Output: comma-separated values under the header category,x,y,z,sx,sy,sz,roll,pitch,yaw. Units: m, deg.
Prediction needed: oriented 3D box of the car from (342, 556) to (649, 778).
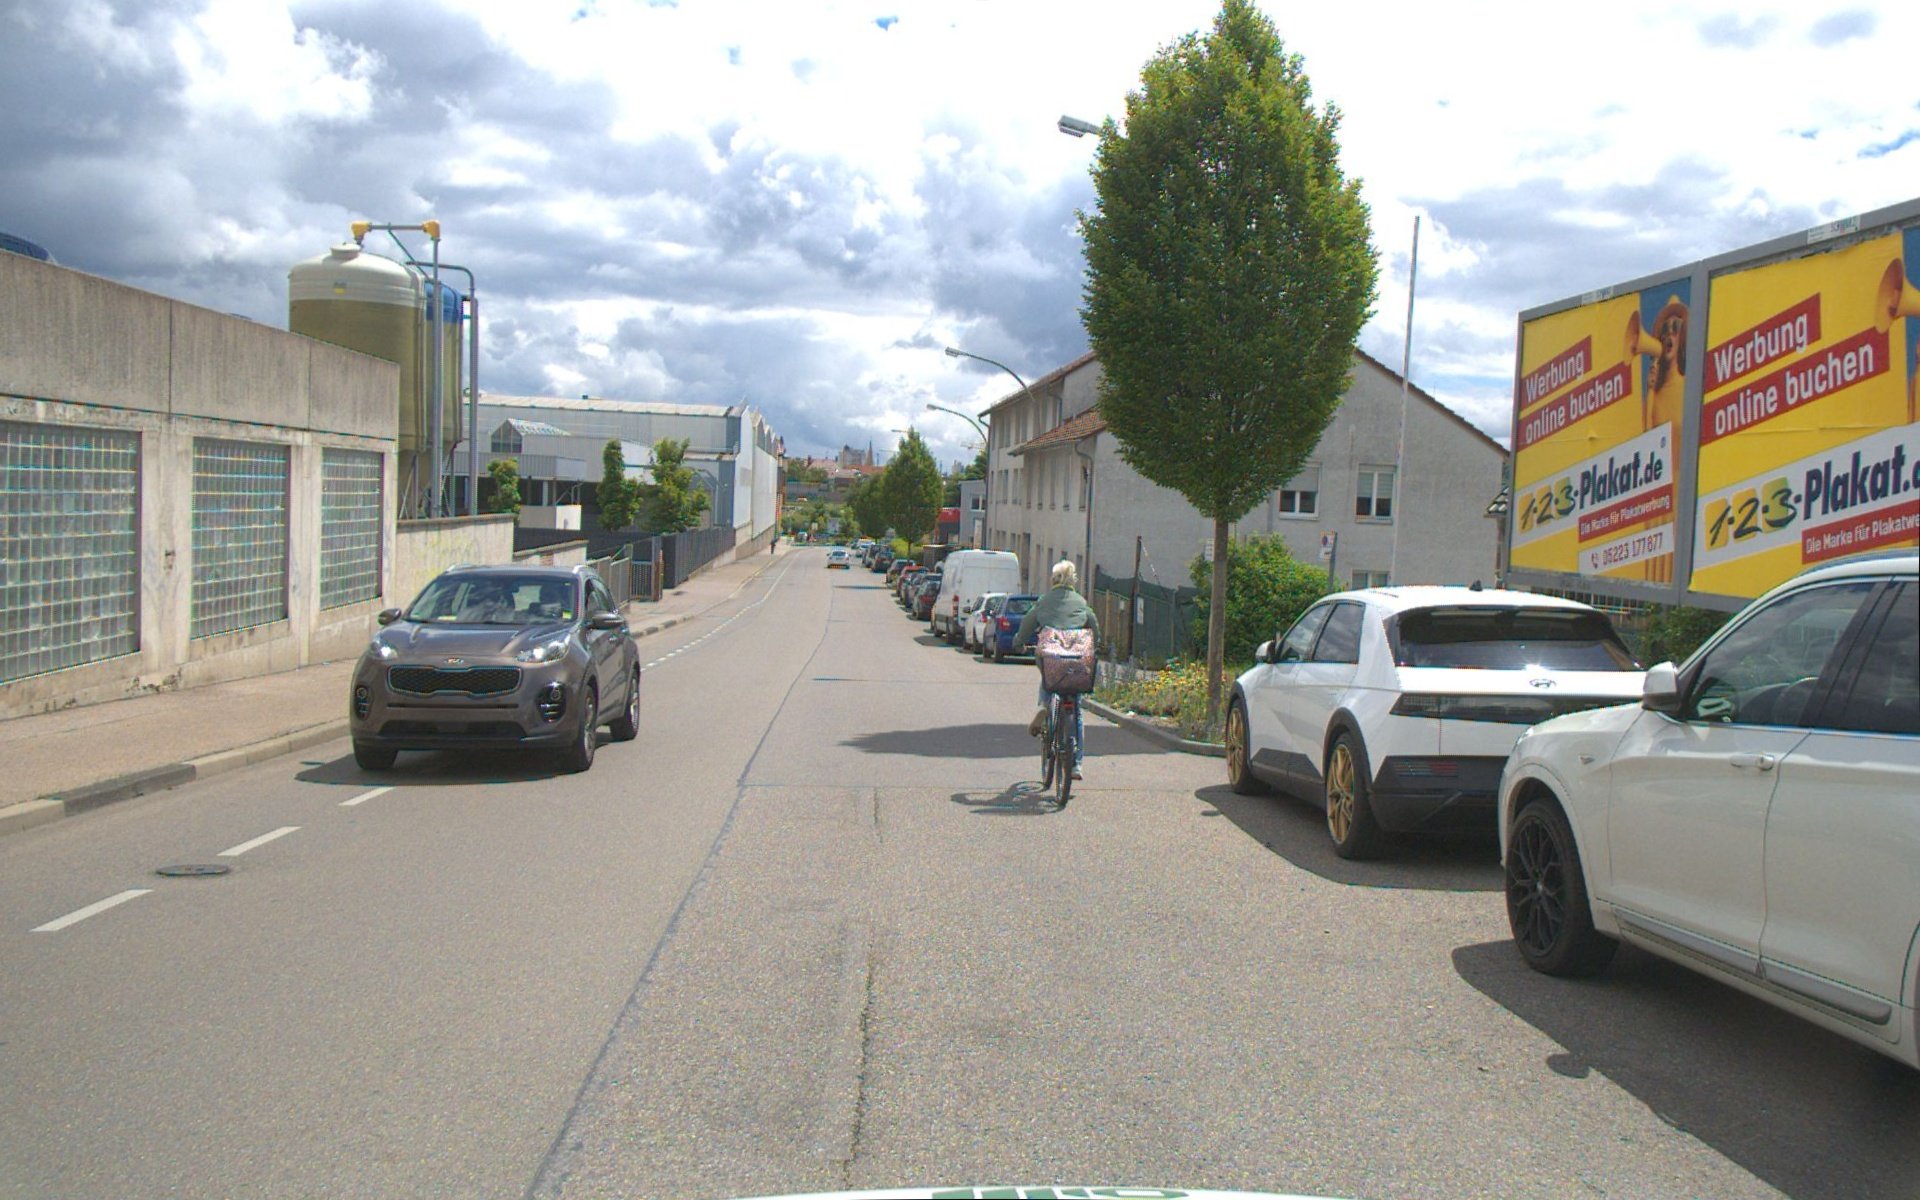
category,x,y,z,sx,sy,sz,roll,pitch,yaw
car,-3.863,0.492,14.454,1.764,1.650,4.089,1,0,-4

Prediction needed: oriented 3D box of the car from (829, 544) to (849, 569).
category,x,y,z,sx,sy,sz,roll,pitch,yaw
car,-9.590,-3.420,130.939,1.536,1.817,3.602,2,0,-5

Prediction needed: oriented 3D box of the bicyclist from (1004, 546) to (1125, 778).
category,x,y,z,sx,sy,sz,roll,pitch,yaw
bicyclist,0.767,0.450,12.292,0.725,1.655,0.730,2,0,-8

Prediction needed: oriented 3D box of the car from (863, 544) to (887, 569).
category,x,y,z,sx,sy,sz,roll,pitch,yaw
car,-7.208,-3.674,139.884,1.833,2.024,5.139,2,2,-5

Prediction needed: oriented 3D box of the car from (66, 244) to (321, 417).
category,x,y,z,sx,sy,sz,roll,pitch,yaw
car,-10.474,-3.629,22.952,1.770,1.665,4.102,2,0,-3

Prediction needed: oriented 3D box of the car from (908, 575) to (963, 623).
category,x,y,z,sx,sy,sz,roll,pitch,yaw
car,-1.007,-0.074,64.888,1.672,1.535,5.083,4,3,-6

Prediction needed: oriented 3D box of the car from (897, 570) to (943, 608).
category,x,y,z,sx,sy,sz,roll,pitch,yaw
car,-1.888,-0.529,76.006,1.701,1.448,4.856,3,3,-6

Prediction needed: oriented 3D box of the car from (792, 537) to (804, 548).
category,x,y,z,sx,sy,sz,roll,pitch,yaw
car,-24.506,-8.664,249.939,1.817,1.512,3.995,2,0,-5

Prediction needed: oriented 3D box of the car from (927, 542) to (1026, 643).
category,x,y,z,sx,sy,sz,roll,pitch,yaw
car,0.375,-0.221,48.653,1.994,2.687,7.273,2,0,-6

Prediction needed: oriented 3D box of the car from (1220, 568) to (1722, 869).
category,x,y,z,sx,sy,sz,roll,pitch,yaw
car,3.075,0.626,11.028,1.805,1.592,4.463,0,0,-3

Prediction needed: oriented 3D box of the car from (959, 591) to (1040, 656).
category,x,y,z,sx,sy,sz,roll,pitch,yaw
car,0.975,0.577,42.523,1.562,1.536,3.785,2,0,-6

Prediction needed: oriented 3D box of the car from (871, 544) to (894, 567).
category,x,y,z,sx,sy,sz,roll,pitch,yaw
car,-5.895,-3.363,125.220,1.646,1.666,4.121,2,2,-3

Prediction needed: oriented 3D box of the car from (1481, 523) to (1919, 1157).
category,x,y,z,sx,sy,sz,roll,pitch,yaw
car,3.338,0.653,5.285,1.652,1.688,4.476,1,0,-4

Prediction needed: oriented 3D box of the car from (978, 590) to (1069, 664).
category,x,y,z,sx,sy,sz,roll,pitch,yaw
car,1.395,0.573,37.696,1.536,1.536,4.090,2,0,-5

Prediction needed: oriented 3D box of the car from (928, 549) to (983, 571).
category,x,y,z,sx,sy,sz,roll,pitch,yaw
car,-0.342,-2.886,119.183,1.712,1.488,4.011,-3,3,-43

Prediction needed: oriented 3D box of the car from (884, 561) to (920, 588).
category,x,y,z,sx,sy,sz,roll,pitch,yaw
car,-3.480,-1.559,98.606,1.757,1.491,4.703,2,1,-6

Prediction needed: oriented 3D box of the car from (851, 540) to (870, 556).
category,x,y,z,sx,sy,sz,roll,pitch,yaw
car,-11.075,-5.788,183.834,1.670,1.553,3.732,5,2,-9

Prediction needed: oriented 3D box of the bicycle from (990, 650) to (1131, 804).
category,x,y,z,sx,sy,sz,roll,pitch,yaw
bicycle,0.713,0.910,12.344,0.726,0.992,1.730,2,0,-7

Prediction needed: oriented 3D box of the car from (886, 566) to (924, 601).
category,x,y,z,sx,sy,sz,roll,pitch,yaw
car,-2.784,-0.862,83.170,1.701,1.497,4.259,2,3,-4

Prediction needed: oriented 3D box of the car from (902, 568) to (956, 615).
category,x,y,z,sx,sy,sz,roll,pitch,yaw
car,-1.364,-0.401,70.451,1.646,1.666,4.789,4,3,-8
